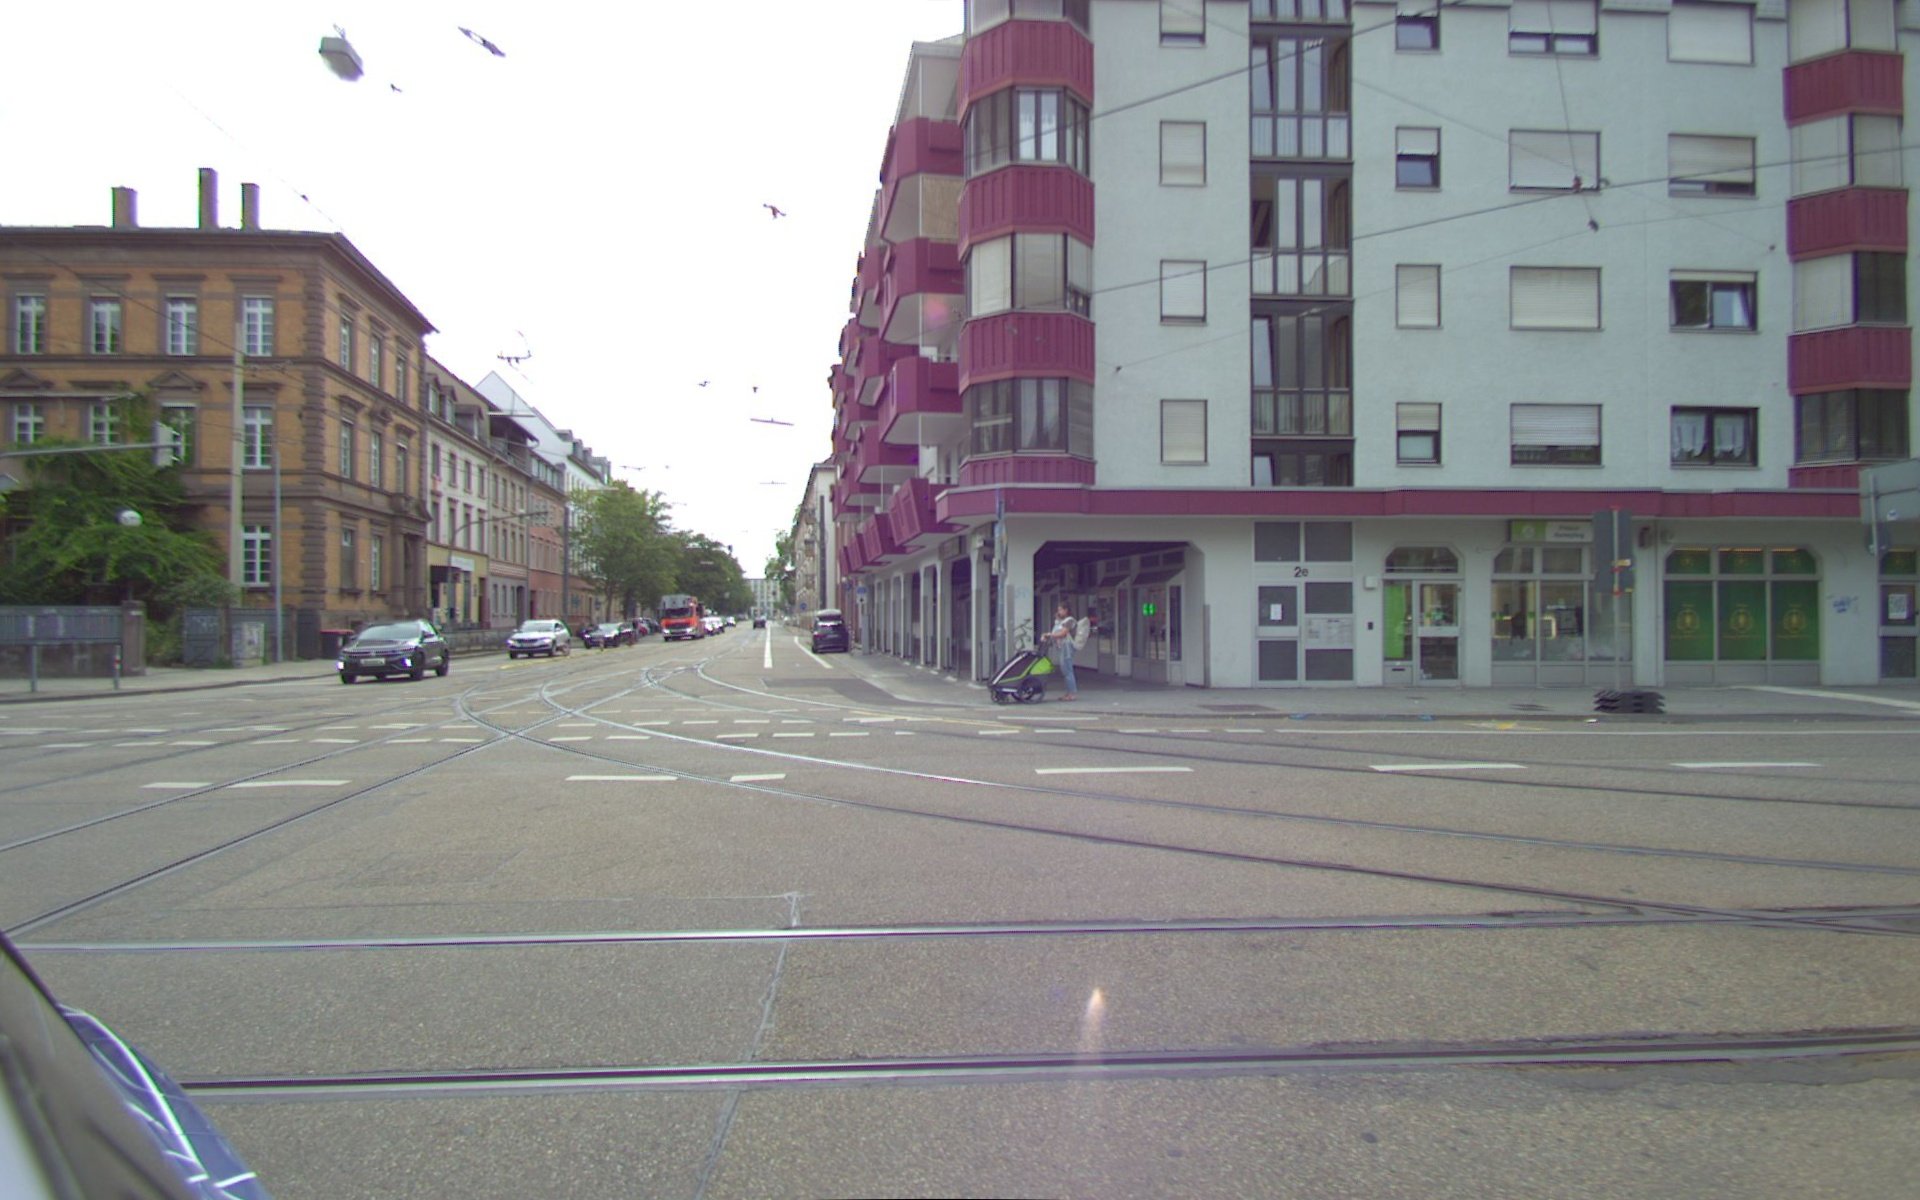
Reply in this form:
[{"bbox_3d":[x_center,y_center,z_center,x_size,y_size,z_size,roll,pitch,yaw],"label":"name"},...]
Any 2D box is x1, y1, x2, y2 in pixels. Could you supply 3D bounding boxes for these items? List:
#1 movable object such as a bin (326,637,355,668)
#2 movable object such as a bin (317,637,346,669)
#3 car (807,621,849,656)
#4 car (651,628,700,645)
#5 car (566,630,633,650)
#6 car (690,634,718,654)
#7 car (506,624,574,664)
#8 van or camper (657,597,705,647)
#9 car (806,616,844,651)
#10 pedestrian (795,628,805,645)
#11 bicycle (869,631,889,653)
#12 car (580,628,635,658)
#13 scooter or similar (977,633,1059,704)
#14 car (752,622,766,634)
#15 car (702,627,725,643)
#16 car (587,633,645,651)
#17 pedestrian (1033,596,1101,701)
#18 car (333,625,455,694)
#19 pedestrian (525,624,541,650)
[{"bbox_3d":[-23.073,1.949,37.706,0.654,1.090,0.703,3,-2,-13],"label":"movable object such as a bin"},{"bbox_3d":[-23.064,1.942,37.148,0.642,1.090,0.679,3,-2,-13],"label":"movable object such as a bin"},{"bbox_3d":[-6.326,1.816,48.305,1.732,1.491,4.707,-3,-1,-10],"label":"car"},{"bbox_3d":[-30.067,3.899,107.018,4.550,1.711,1.922,2,-3,-33],"label":"car"},{"bbox_3d":[-27.448,3.070,77.110,4.550,1.484,1.794,2,-3,-33],"label":"car"},{"bbox_3d":[-22.419,3.844,88.764,1.968,1.721,4.060,-1,-2,-8],"label":"car"},{"bbox_3d":[-18.248,1.892,44.115,1.746,1.603,4.290,-2,-1,-9],"label":"car"},{"bbox_3d":[-20.609,1.648,75.259,2.567,3.447,9.672,-1,-2,-10],"label":"van or camper"},{"bbox_3d":[-7.256,1.776,53.980,1.783,1.660,4.707,-3,-1,-10],"label":"car"},{"bbox_3d":[-17.805,4.059,112.664,0.984,1.856,1.022,0,-2,-17],"label":"pedestrian"},{"bbox_3d":[-3.677,1.884,45.775,0.556,0.960,1.655,0,-2,-16],"label":"bicycle"},{"bbox_3d":[-19.791,2.389,56.990,1.749,1.546,4.050,-2,-1,-2],"label":"car"},{"bbox_3d":[0.977,1.157,17.346,1.180,1.137,0.948,-1,-2,-10],"label":"scooter or similar"},{"bbox_3d":[-27.383,3.854,137.937,1.746,1.549,4.056,-2,-1,-9],"label":"car"},{"bbox_3d":[-23.564,3.354,96.751,1.881,1.498,4.008,0,-2,-11],"label":"car"},{"bbox_3d":[-28.619,3.487,84.203,4.272,1.491,1.794,2,-3,-33],"label":"car"},{"bbox_3d":[1.847,0.831,17.539,0.935,1.757,0.814,-1,-2,-11],"label":"pedestrian"},{"bbox_3d":[-14.619,1.496,26.384,1.745,1.559,4.293,-2,-1,-15],"label":"car"},{"bbox_3d":[-28.462,2.460,67.498,0.721,1.701,0.928,3,-3,-10],"label":"pedestrian"}]
